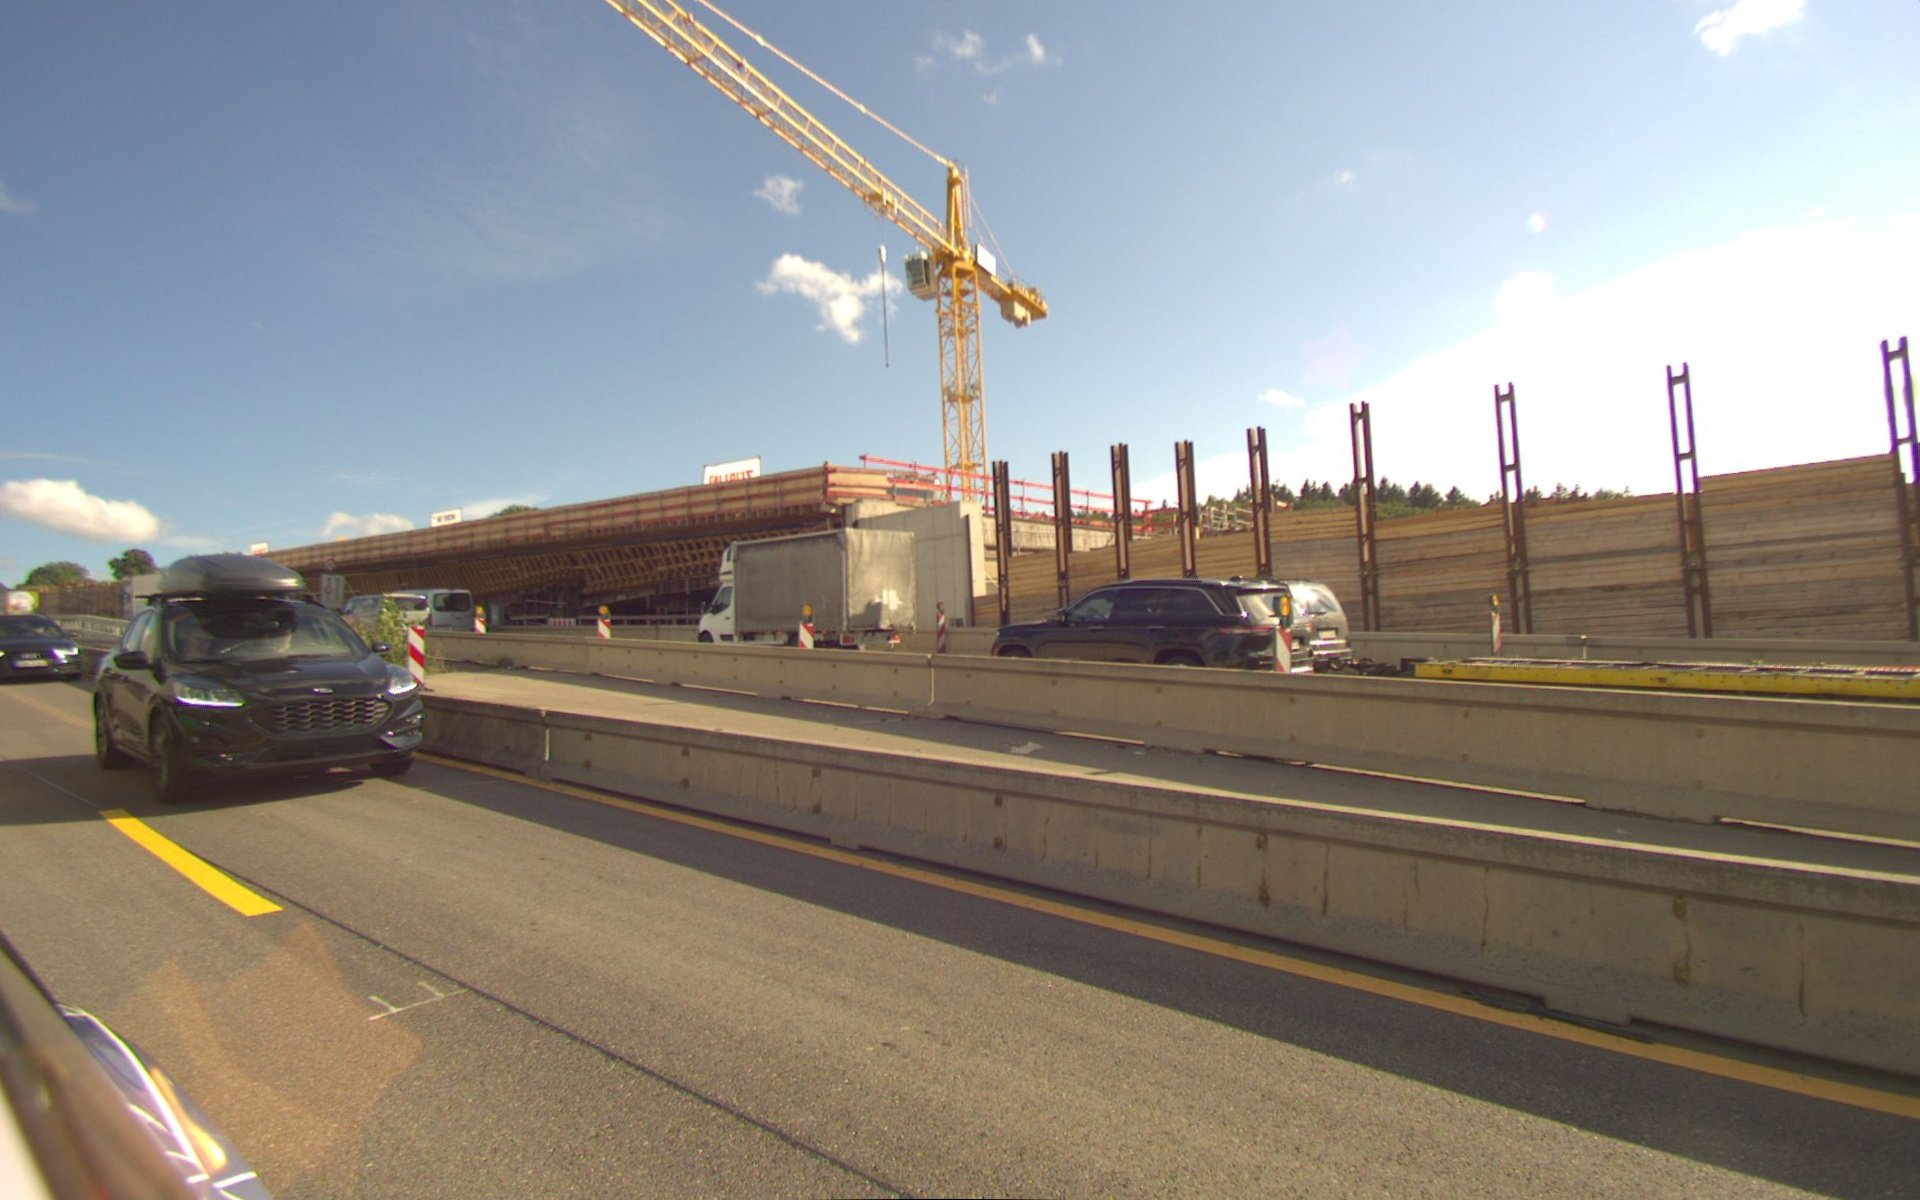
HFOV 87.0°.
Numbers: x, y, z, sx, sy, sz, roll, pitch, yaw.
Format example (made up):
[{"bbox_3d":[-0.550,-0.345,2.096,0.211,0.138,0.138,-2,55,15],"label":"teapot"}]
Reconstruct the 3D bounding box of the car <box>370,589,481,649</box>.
[{"bbox_3d":[-23.082,0.769,43.630,5.864,2.420,2.235,0,0,41],"label":"car"}]

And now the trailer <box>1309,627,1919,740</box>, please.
[{"bbox_3d":[9.263,0.864,11.445,2.322,0.947,10.346,-1,0,-40],"label":"trailer"}]

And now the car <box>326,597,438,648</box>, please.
[{"bbox_3d":[-21.879,0.844,38.238,5.028,1.779,2.104,-2,0,41],"label":"car"}]

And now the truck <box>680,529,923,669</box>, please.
[{"bbox_3d":[-4.545,-0.028,27.704,2.670,3.336,7.542,-1,1,-45],"label":"truck"}]

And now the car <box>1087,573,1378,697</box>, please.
[{"bbox_3d":[4.475,0.498,17.170,1.969,1.817,4.452,-1,1,-40],"label":"car"}]

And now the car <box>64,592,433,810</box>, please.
[{"bbox_3d":[-6.689,0.797,9.327,4.382,1.554,1.781,-2,-3,41],"label":"car"}]

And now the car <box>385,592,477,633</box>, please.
[{"bbox_3d":[-23.144,0.561,44.230,4.270,1.686,2.104,-2,0,41],"label":"car"}]

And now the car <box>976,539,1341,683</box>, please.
[{"bbox_3d":[2.534,0.175,13.955,1.830,1.648,4.754,-1,-1,-42],"label":"car"}]

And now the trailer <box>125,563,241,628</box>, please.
[{"bbox_3d":[-50.802,-0.258,65.914,13.787,3.870,2.793,0,0,39],"label":"trailer"}]

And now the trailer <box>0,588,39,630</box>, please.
[{"bbox_3d":[-98.523,0.880,105.303,13.809,4.187,2.659,0,0,42],"label":"trailer"}]

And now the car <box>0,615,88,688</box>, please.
[{"bbox_3d":[-21.157,1.094,22.871,1.921,1.441,4.508,0,0,-44],"label":"car"}]

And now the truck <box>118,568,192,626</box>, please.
[{"bbox_3d":[-55.539,-0.214,69.766,6.012,3.817,2.749,0,0,39],"label":"truck"}]
